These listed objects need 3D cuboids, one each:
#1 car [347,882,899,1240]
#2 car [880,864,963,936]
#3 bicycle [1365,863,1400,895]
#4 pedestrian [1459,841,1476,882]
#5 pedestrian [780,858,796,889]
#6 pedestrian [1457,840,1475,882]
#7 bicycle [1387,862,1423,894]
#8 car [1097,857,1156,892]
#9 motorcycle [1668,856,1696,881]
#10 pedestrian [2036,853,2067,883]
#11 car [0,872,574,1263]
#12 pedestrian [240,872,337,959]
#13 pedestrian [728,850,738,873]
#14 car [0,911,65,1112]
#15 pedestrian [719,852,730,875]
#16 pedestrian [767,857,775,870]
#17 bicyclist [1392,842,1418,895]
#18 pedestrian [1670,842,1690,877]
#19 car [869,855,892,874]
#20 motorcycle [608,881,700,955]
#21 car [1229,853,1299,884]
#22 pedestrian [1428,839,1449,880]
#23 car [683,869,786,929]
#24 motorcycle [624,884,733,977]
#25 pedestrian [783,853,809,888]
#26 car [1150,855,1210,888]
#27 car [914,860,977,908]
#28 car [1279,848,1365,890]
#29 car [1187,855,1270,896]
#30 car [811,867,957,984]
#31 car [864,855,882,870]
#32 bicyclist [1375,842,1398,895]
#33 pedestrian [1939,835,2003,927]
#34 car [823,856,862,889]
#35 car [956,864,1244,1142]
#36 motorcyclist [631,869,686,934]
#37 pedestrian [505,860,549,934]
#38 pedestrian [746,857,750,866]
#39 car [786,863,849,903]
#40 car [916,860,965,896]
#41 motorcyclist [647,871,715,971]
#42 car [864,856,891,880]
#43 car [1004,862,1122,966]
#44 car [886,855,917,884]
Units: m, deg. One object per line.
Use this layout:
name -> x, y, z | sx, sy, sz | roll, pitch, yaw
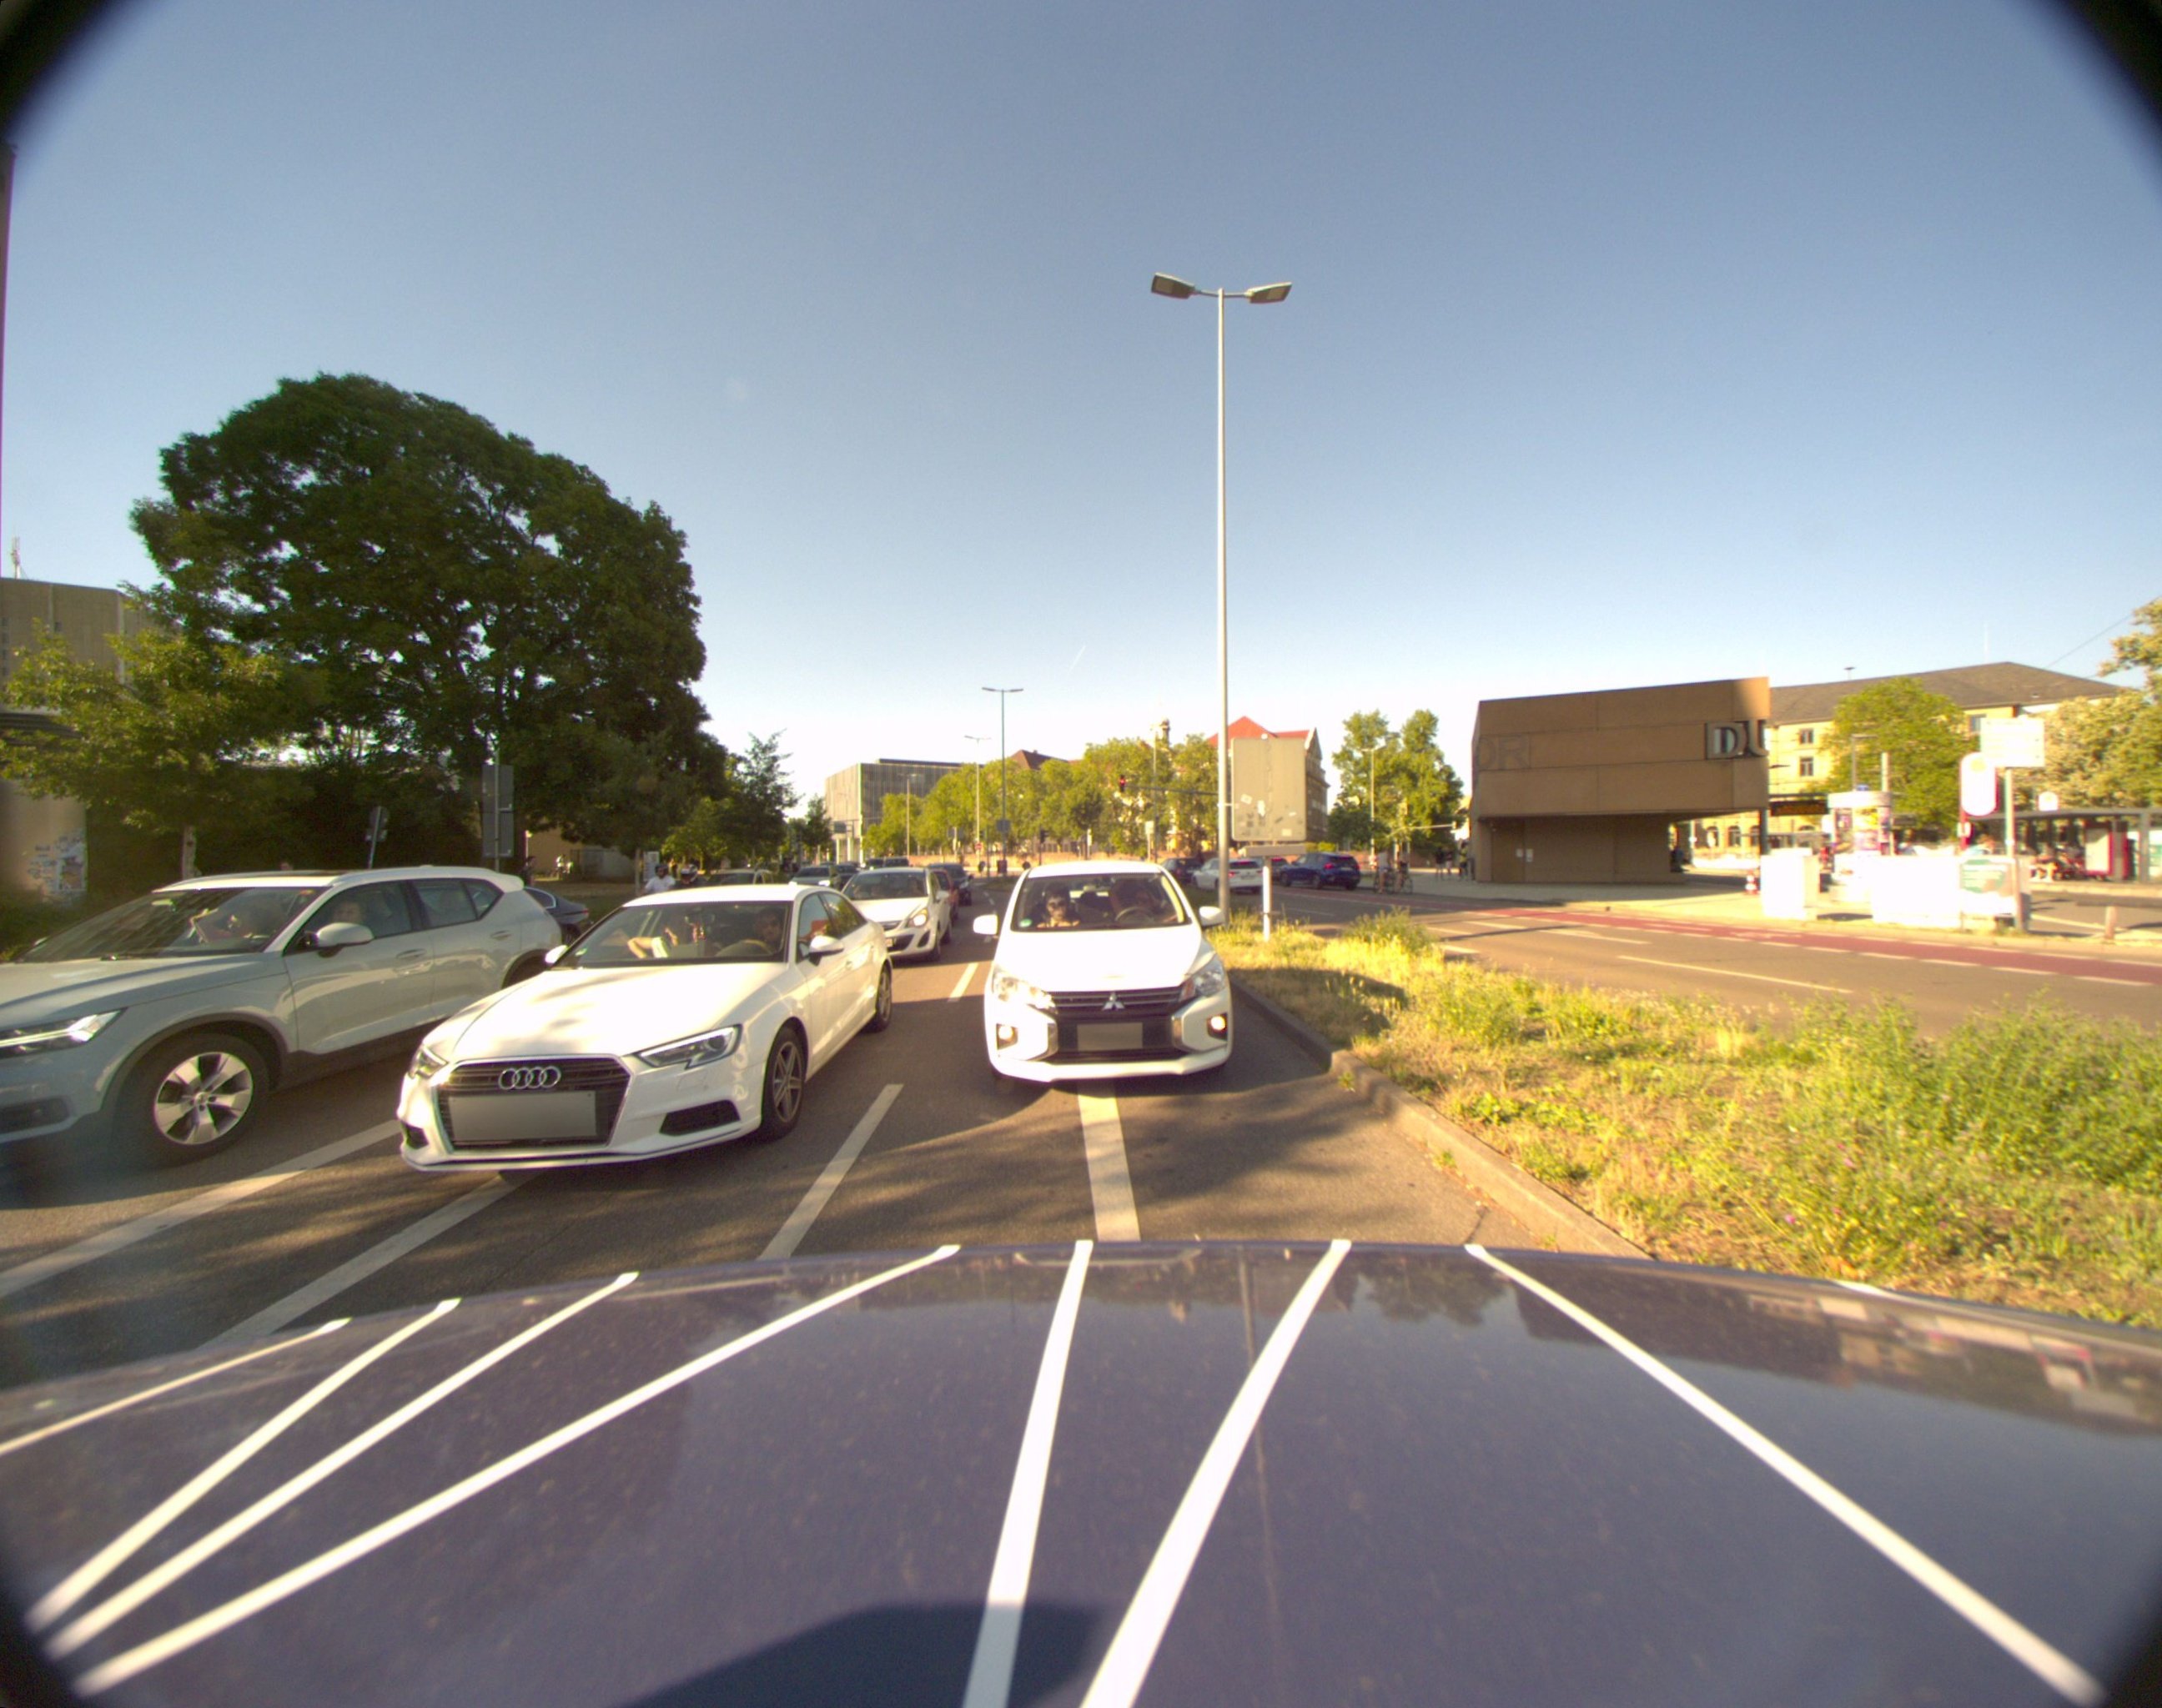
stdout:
car -> -2.546, 1.018, 5.405 | 1.628, 1.396, 3.832 | -2, 1, -2
car -> -3.889, 1.057, 19.111 | 1.628, 1.451, 4.039 | -2, 1, -7
bicycle -> 11.689, 0.952, 29.470 | 0.464, 1.185, 1.395 | -3, 1, -17
pedestrian -> 19.206, 0.375, 37.720 | 0.655, 2.002, 0.469 | -2, 1, 20
pedestrian -> -15.634, 1.038, 40.531 | 0.596, 1.585, 0.594 | -2, 1, -8
pedestrian -> 18.687, 0.343, 36.896 | 0.655, 2.002, 0.469 | -2, 1, 20
bicycle -> 12.512, 0.921, 29.401 | 0.464, 1.185, 1.395 | -3, 1, -17
car -> 2.076, 0.921, 35.978 | 1.757, 1.451, 4.184 | -2, 1, -11
motorcycle -> 26.261, 0.635, 33.209 | 0.948, 1.061, 0.331 | -1, 2, 39
pedestrian -> 38.885, 0.549, 30.451 | 0.539, 1.180, 0.659 | -2, 1, 29
car -> -5.743, 1.036, 5.272 | 1.628, 1.611, 4.223 | -2, 1, -2
pedestrian -> -16.672, 1.261, 16.010 | 1.010, 1.711, 0.884 | -2, 1, -10
pedestrian -> -24.417, 0.506, 53.310 | 0.548, 1.597, 0.603 | -3, 1, -19
car -> -8.751, 1.227, 3.898 | 1.628, 1.451, 4.040 | -2, 1, -2
pedestrian -> -24.952, 0.656, 53.143 | 0.548, 1.521, 0.603 | -3, 1, -19
pedestrian -> -48.262, 1.477, 118.269 | 0.840, 2.002, 1.065 | -3, 1, -30
bicyclist -> 12.503, 0.562, 29.341 | 0.611, 2.002, 0.708 | -1, 1, -15
pedestrian -> 34.194, 0.314, 43.378 | 0.780, 2.002, 0.771 | -3, 2, -42
car -> -20.136, 1.017, 76.191 | 1.881, 1.805, 3.993 | -1, 0, -19
motorcycle -> -8.864, 1.286, 15.900 | 0.718, 1.297, 2.234 | -2, 1, -4
car -> 9.327, 0.712, 39.036 | 1.850, 1.483, 4.388 | 1, 0, -10
pedestrian -> 17.685, 0.257, 37.580 | 0.777, 2.002, 0.773 | -2, 1, 13
car -> -10.014, 1.233, 22.277 | 1.746, 1.516, 3.996 | -1, 0, -9
motorcycle -> -6.696, 1.221, 12.795 | 0.718, 1.297, 2.234 | -2, 1, -4
pedestrian -> -16.937, 0.939, 45.133 | 1.143, 2.002, 1.285 | -2, 1, -10
car -> 4.810, 0.806, 37.549 | 1.757, 1.451, 4.185 | -2, 1, -10
car -> -4.879, 0.992, 26.910 | 1.747, 1.536, 3.994 | -1, 0, -17
car -> 10.412, 0.604, 33.194 | 1.757, 1.680, 4.184 | -1, 0, -12
car -> 5.989, 0.816, 31.412 | 1.850, 1.483, 4.388 | -2, 1, -10
car -> -3.066, 1.019, 12.594 | 1.628, 1.451, 4.039 | -2, 1, -5
car -> -25.880, 1.000, 94.369 | 1.881, 1.805, 3.993 | -1, 0, -19
bicyclist -> 11.763, 0.543, 29.286 | 0.611, 2.002, 0.565 | -1, 1, -15
pedestrian -> 18.880, 0.559, 16.138 | 0.797, 1.886, 0.612 | 0, 1, 40
car -> -13.729, 1.002, 43.880 | 1.880, 1.805, 3.995 | -1, 0, -14
car -> 0.064, 0.893, 6.448 | 1.628, 1.451, 4.040 | -2, 1, -2
motorcyclist -> -8.879, 0.987, 16.001 | 0.718, 1.297, 0.735 | -2, 1, -4
pedestrian -> -14.370, 1.110, 19.710 | 0.464, 1.875, 0.696 | -2, 1, 18
pedestrian -> -57.833, 1.274, 132.087 | 0.409, 1.476, 0.486 | -1, 1, 1
car -> -11.332, 1.209, 32.985 | 1.746, 1.536, 3.997 | -1, 0, -7
car -> -7.247, 1.170, 38.876 | 1.748, 1.696, 3.993 | -1, 0, -21
motorcyclist -> -6.703, 1.106, 12.770 | 0.711, 1.581, 0.690 | -2, 1, -4
car -> -15.472, 1.037, 57.895 | 1.880, 1.805, 3.995 | -1, 0, -14
car -> -0.167, 0.946, 13.778 | 1.755, 1.451, 4.189 | -2, 1, 3
car -> -11.762, 0.965, 49.873 | 1.880, 1.805, 3.995 | -1, 0, -14
